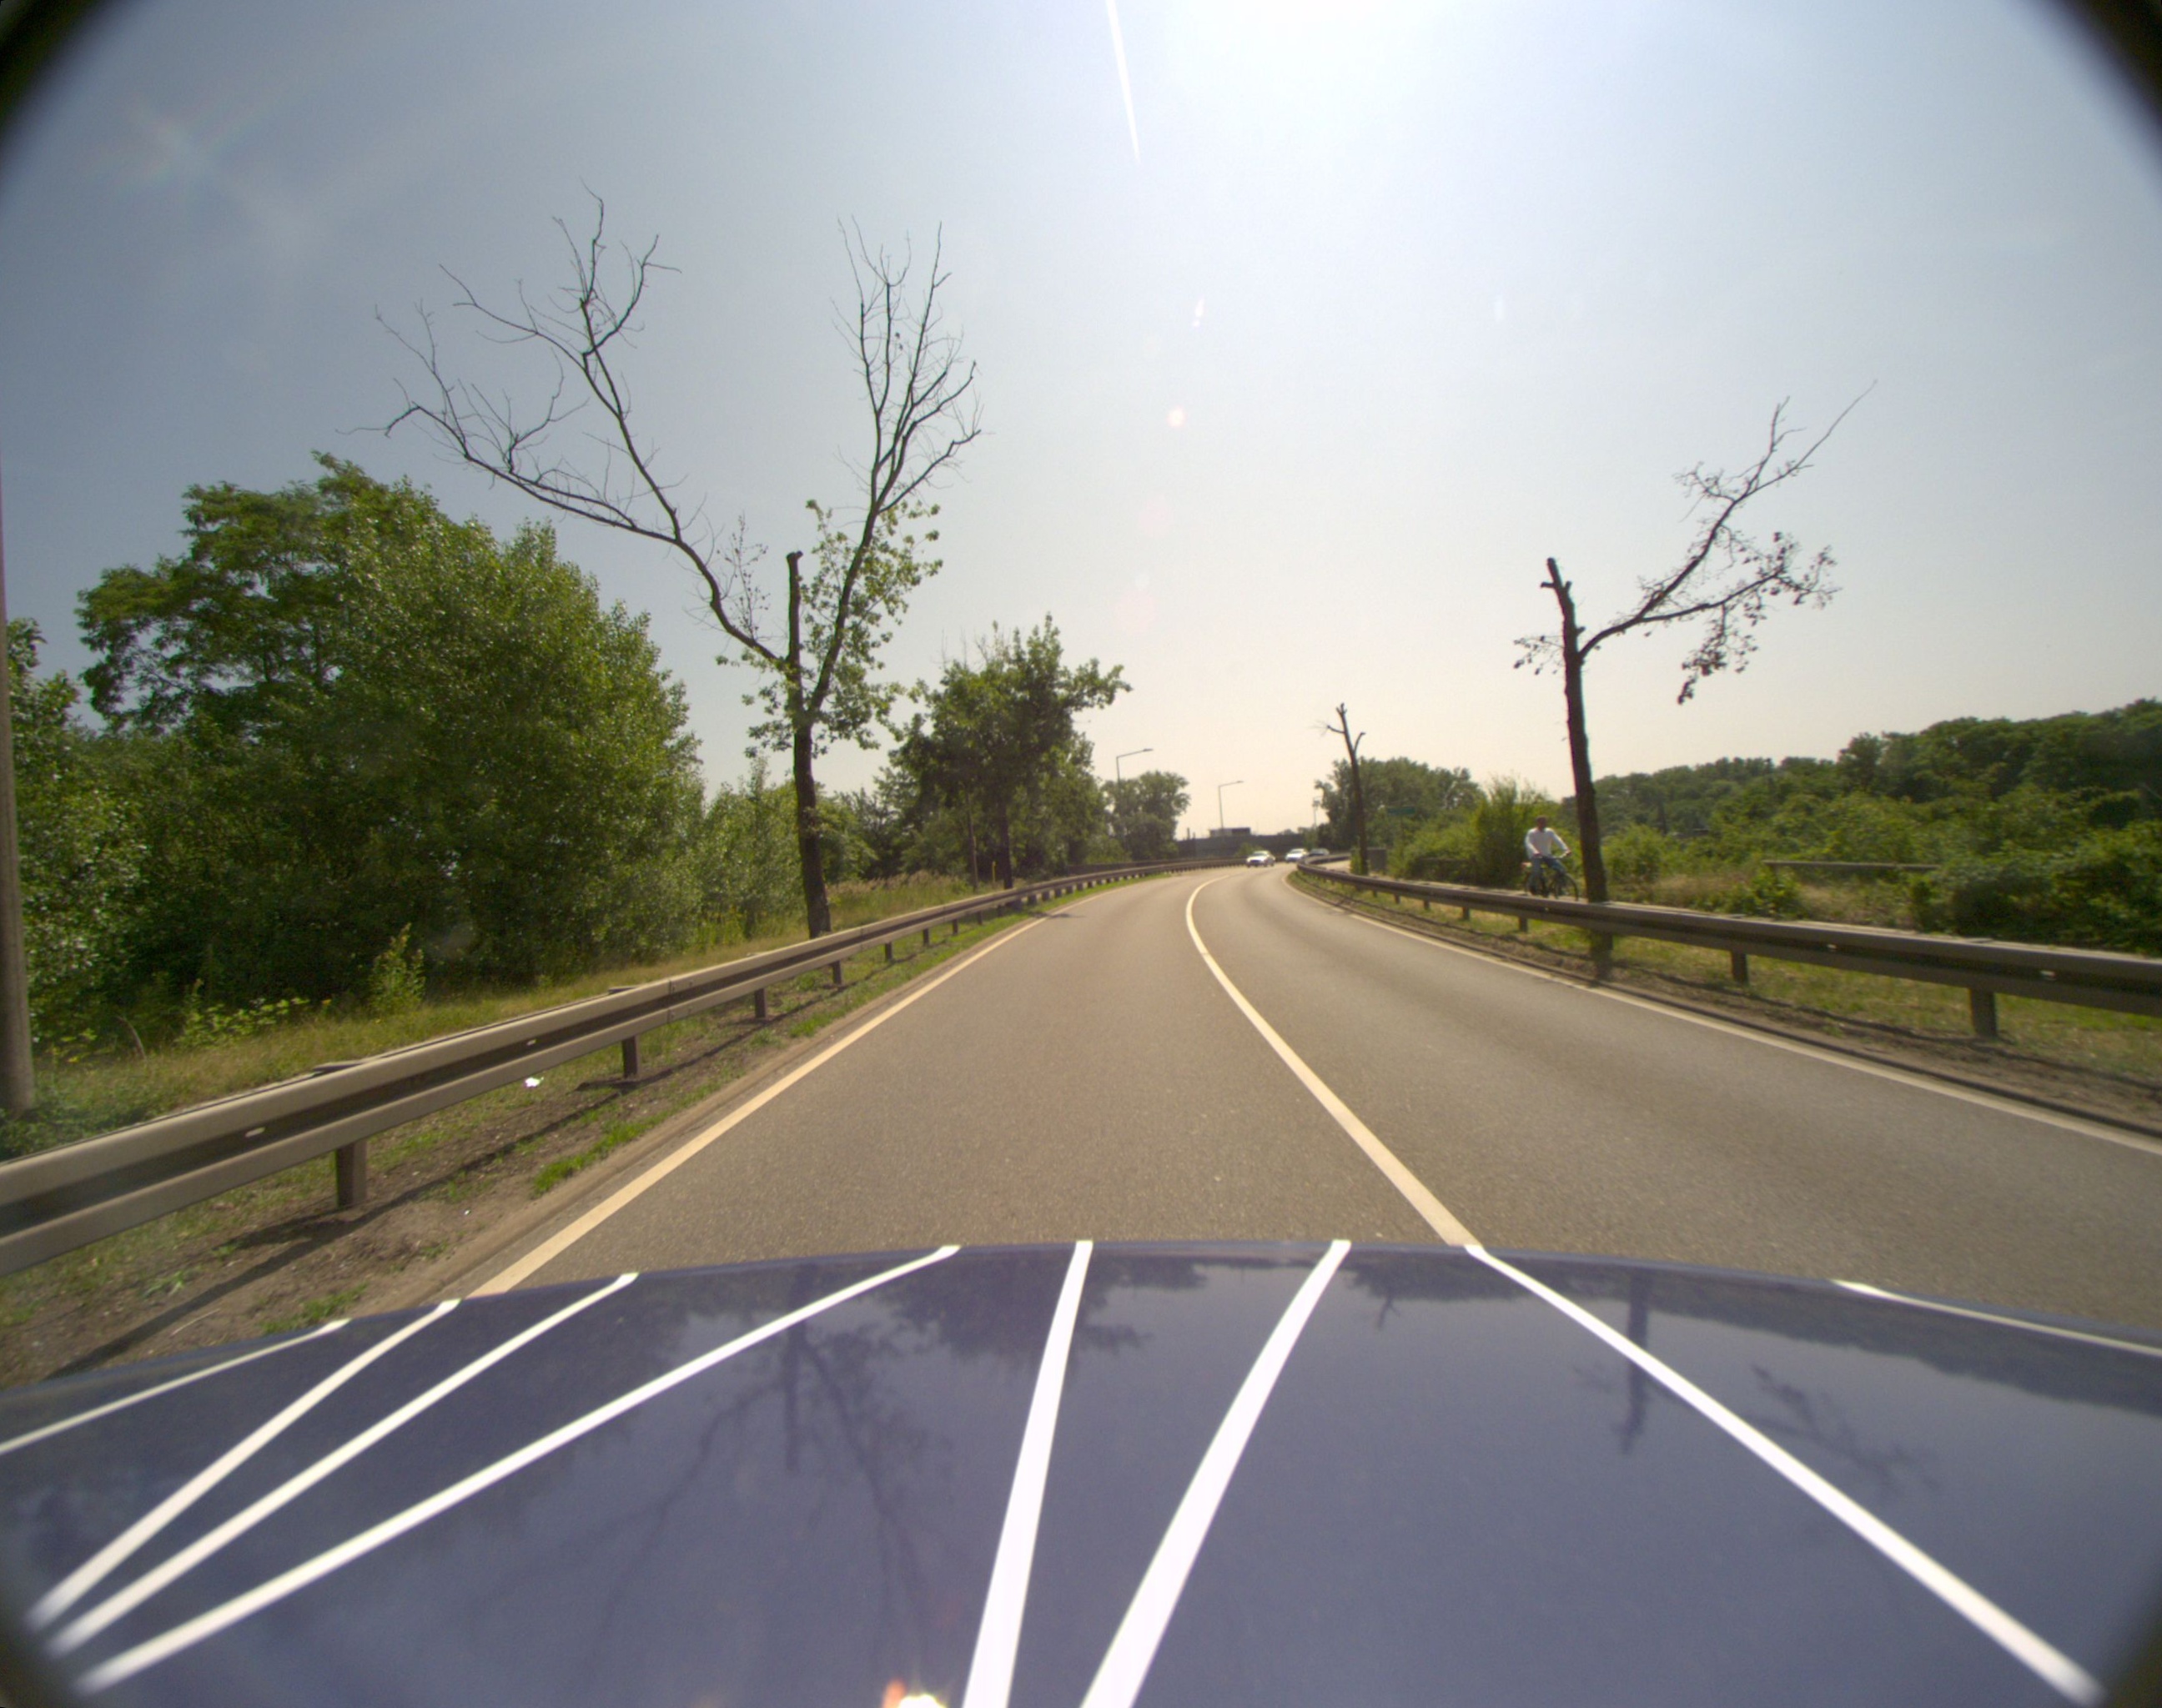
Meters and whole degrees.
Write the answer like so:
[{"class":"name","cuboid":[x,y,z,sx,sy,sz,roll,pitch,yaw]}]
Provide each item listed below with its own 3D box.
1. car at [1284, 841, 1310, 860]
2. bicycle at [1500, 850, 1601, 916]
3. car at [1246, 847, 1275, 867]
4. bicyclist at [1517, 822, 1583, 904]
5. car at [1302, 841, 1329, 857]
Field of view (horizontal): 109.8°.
[{"class":"car","cuboid":[23.223,-0.408,81.542,1.795,1.772,4.300,-2,1,28]},{"class":"bicycle","cuboid":[8.602,0.489,14.028,0.736,1.110,2.046,-1,1,4]},{"class":"car","cuboid":[16.074,0.268,67.871,1.760,1.491,4.238,-2,2,23]},{"class":"bicyclist","cuboid":[8.596,0.155,13.958,0.731,1.457,0.824,-1,1,5]},{"class":"car","cuboid":[22.577,-0.481,72.964,1.805,1.408,4.365,-2,0,26]}]
